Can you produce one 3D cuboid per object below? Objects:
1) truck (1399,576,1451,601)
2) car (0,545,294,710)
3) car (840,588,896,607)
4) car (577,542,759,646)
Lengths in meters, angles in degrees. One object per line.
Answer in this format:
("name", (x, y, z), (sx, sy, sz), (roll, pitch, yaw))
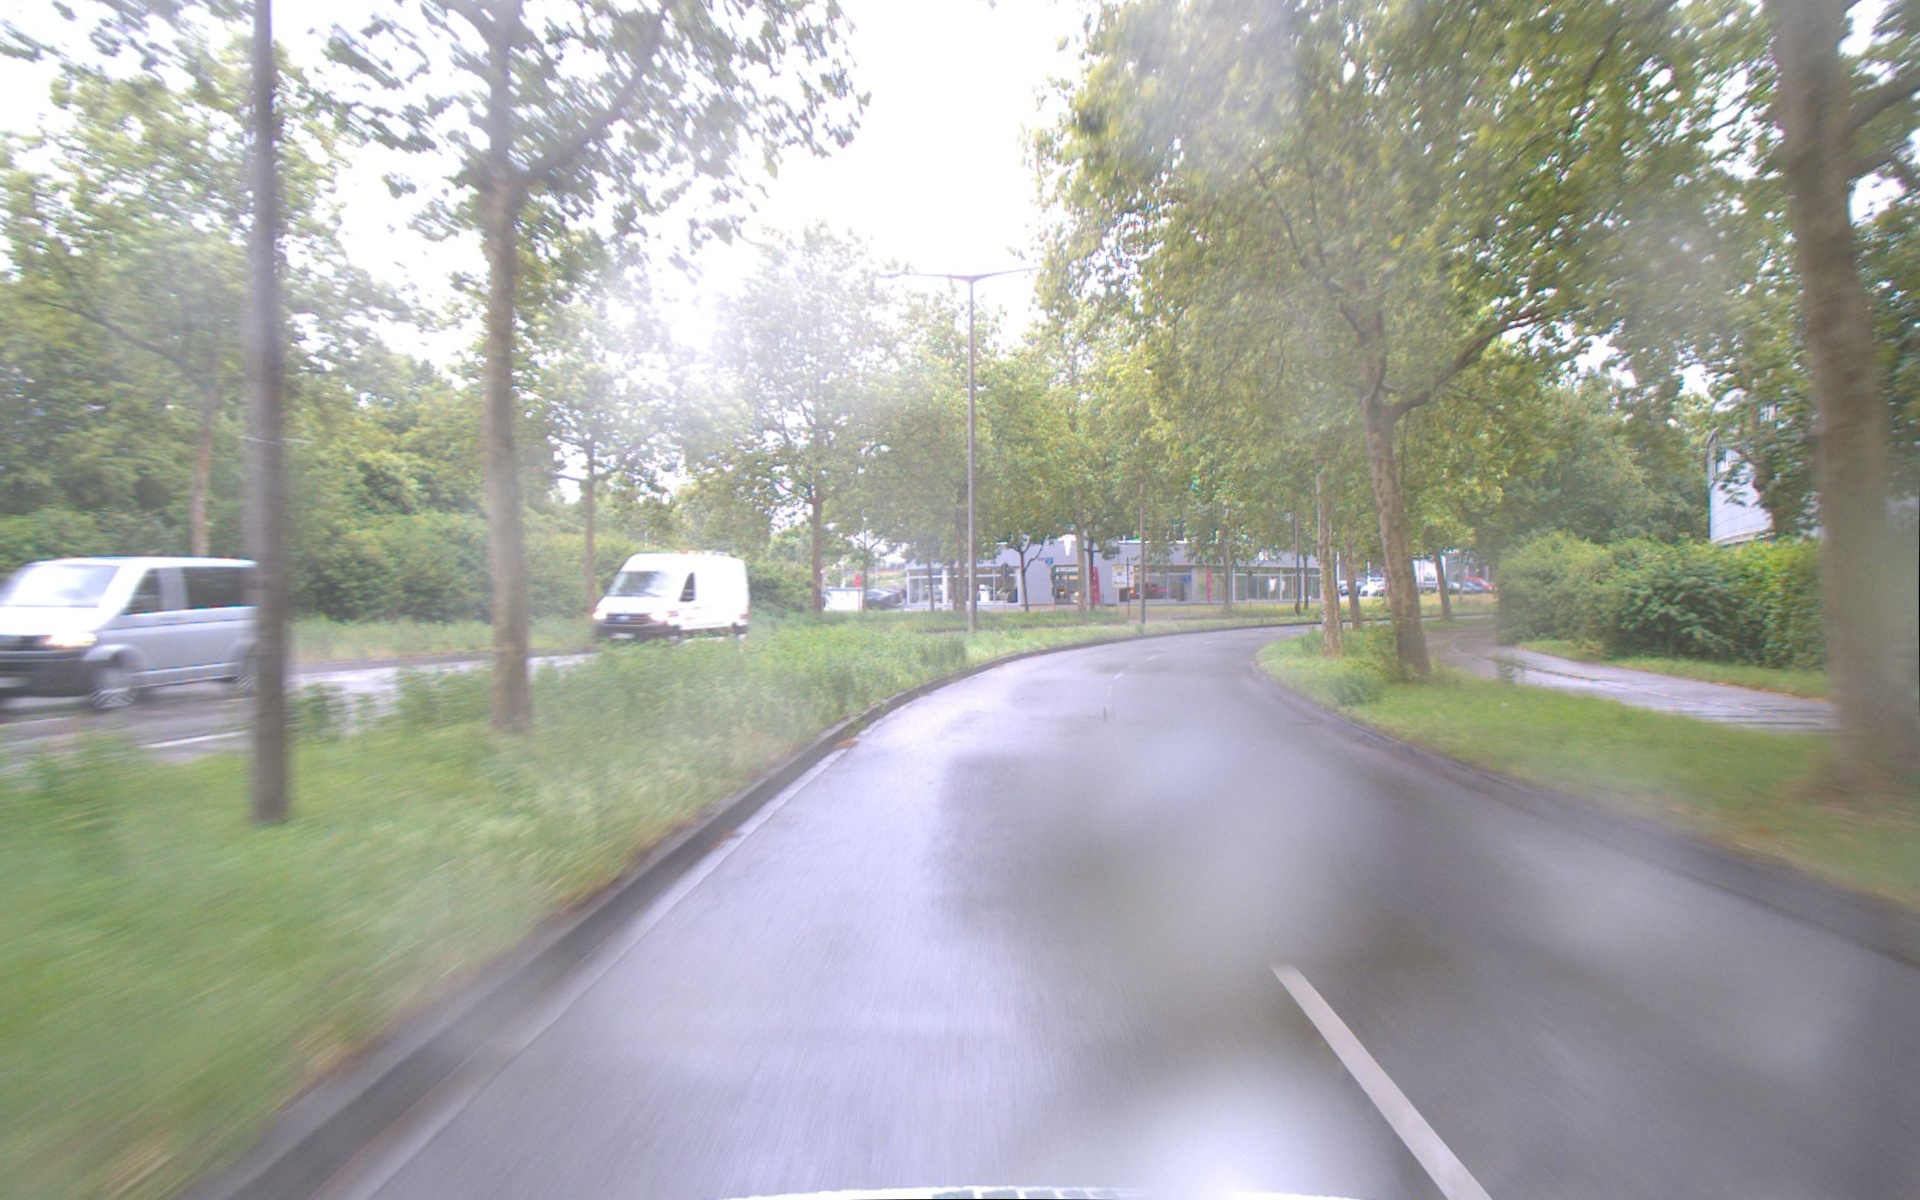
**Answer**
("truck", (48.361, -1.232, 172.063), (6.141, 2.384, 2.221), (-2, 5, -42))
("car", (-11.294, 0.322, 22.430), (1.893, 1.974, 5.202), (0, 0, 7))
("car", (-7.293, -0.210, 131.016), (4.101, 1.520, 1.599), (1, 0, 12))
("car", (-7.432, -0.156, 42.972), (2.230, 2.469, 6.365), (0, 0, 14))
